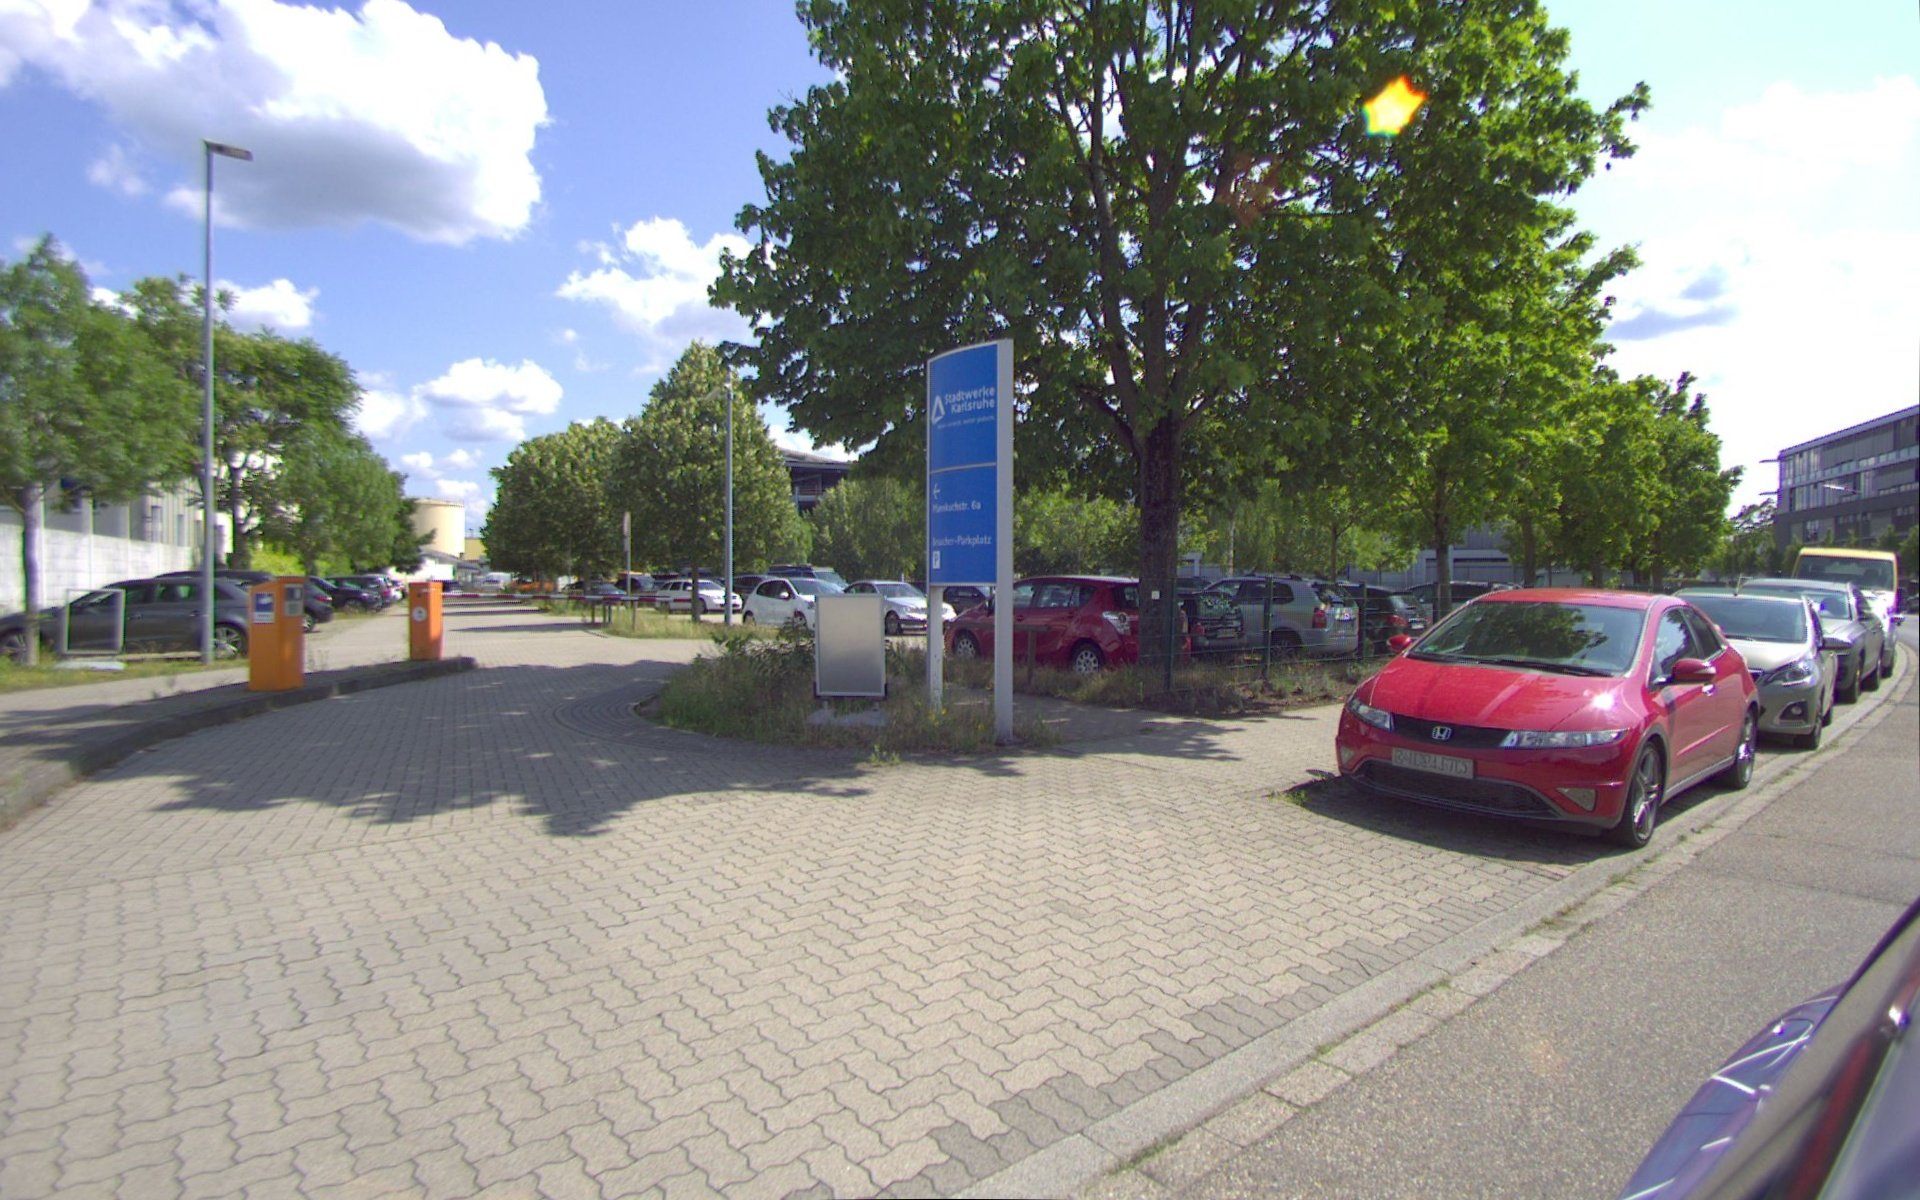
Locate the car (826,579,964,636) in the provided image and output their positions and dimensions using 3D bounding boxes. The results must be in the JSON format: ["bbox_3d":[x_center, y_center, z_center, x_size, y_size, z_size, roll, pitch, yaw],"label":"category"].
[{"bbox_3d":[-1.809,0.164,26.981,1.810,1.413,4.015,0,1,-37],"label":"car"}]

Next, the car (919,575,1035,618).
[{"bbox_3d":[0.622,-0.164,39.195,4.262,1.576,1.971,0,1,40],"label":"car"}]

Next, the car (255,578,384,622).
[{"bbox_3d":[-24.117,-0.033,38.287,3.918,1.568,1.743,-1,1,-25],"label":"car"}]

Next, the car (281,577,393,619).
[{"bbox_3d":[-25.576,-0.074,41.707,3.809,1.613,1.912,-1,0,-28],"label":"car"}]

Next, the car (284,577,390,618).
[{"bbox_3d":[-25.599,-0.135,41.706,3.579,1.568,1.781,-1,1,-28],"label":"car"}]

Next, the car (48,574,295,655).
[{"bbox_3d":[-16.709,0.242,21.718,3.920,1.568,1.742,-1,1,-29],"label":"car"}]

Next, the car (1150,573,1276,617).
[{"bbox_3d":[9.873,-0.196,39.624,4.472,1.661,1.812,0,0,40],"label":"car"}]

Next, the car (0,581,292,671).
[{"bbox_3d":[-13.917,0.394,17.217,4.107,1.351,1.642,-1,1,-29],"label":"car"}]

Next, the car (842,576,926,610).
[{"bbox_3d":[-3.749,-0.336,49.866,3.981,1.576,1.863,-2,0,41],"label":"car"}]

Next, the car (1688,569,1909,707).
[{"bbox_3d":[12.299,0.429,14.741,4.491,1.627,1.836,-1,4,-43],"label":"car"}]

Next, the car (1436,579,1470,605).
[{"bbox_3d":[34.151,-0.561,70.190,1.806,1.668,3.311,-2,0,22],"label":"car"}]

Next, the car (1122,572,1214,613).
[{"bbox_3d":[10.329,-0.369,50.303,4.072,1.959,1.971,0,1,38],"label":"car"}]

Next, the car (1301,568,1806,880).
[{"bbox_3d":[4.345,0.588,7.131,4.151,1.504,1.758,-1,4,-41],"label":"car"}]

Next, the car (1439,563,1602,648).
[{"bbox_3d":[18.828,0.121,34.068,4.332,1.686,1.831,20,12,37],"label":"car"}]

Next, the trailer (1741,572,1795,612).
[{"bbox_3d":[45.494,-0.455,57.052,1.737,2.093,3.904,3,2,31],"label":"trailer"}]

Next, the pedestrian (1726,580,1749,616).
[{"bbox_3d":[37.919,-0.103,49.370,0.718,1.714,0.731,4,2,32],"label":"pedestrian"}]

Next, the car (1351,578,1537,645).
[{"bbox_3d":[13.159,0.254,27.659,4.308,1.641,1.739,2,2,38],"label":"car"}]

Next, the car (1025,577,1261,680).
[{"bbox_3d":[3.179,0.408,18.116,1.876,1.613,3.882,-1,2,-40],"label":"car"}]

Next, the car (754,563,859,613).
[{"bbox_3d":[-7.118,-0.533,46.752,4.920,2.130,2.080,-2,0,41],"label":"car"}]

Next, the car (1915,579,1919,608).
[{"bbox_3d":[55.073,-0.377,56.316,1.723,1.677,4.268,-1,0,29],"label":"car"}]

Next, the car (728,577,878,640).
[{"bbox_3d":[-3.928,0.169,25.028,1.979,1.413,3.759,0,1,-41],"label":"car"}]

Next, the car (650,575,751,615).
[{"bbox_3d":[-10.875,-0.183,42.268,4.261,1.577,1.971,-2,-1,40],"label":"car"}]

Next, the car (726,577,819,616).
[{"bbox_3d":[-8.290,-0.140,44.522,3.982,1.576,1.971,-2,0,41],"label":"car"}]

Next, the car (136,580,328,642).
[{"bbox_3d":[-18.789,0.229,26.286,3.925,1.472,1.659,-2,1,-35],"label":"car"}]

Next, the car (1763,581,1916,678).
[{"bbox_3d":[16.514,0.431,18.920,1.876,1.495,5.087,4,4,43],"label":"car"}]

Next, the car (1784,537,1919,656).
[{"bbox_3d":[21.455,-0.161,24.242,2.157,2.495,6.536,2,2,43],"label":"car"}]

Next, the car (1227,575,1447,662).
[{"bbox_3d":[7.721,0.298,20.995,1.876,1.613,3.882,-1,2,-40],"label":"car"}]

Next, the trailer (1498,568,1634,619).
[{"bbox_3d":[26.753,-0.312,44.760,5.032,2.108,2.035,1,1,36],"label":"trailer"}]

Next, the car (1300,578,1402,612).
[{"bbox_3d":[20.992,-0.307,54.442,4.838,1.789,1.890,1,1,37],"label":"car"}]

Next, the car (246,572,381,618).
[{"bbox_3d":[-23.315,-0.210,36.665,3.918,1.568,1.743,-1,1,-26],"label":"car"}]

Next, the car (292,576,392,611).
[{"bbox_3d":[-29.581,-0.339,48.605,3.918,1.568,1.756,-1,1,-26],"label":"car"}]

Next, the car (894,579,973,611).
[{"bbox_3d":[-1.438,-0.249,53.560,3.981,1.576,1.863,-2,0,41],"label":"car"}]

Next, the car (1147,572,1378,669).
[{"bbox_3d":[5.696,0.303,19.398,1.876,1.657,3.882,-1,2,-40],"label":"car"}]

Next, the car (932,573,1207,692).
[{"bbox_3d":[1.598,0.386,15.989,1.876,1.613,4.217,-1,2,-40],"label":"car"}]

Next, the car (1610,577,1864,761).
[{"bbox_3d":[8.299,0.551,10.691,1.700,1.504,3.748,5,4,43],"label":"car"}]

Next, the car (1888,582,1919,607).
[{"bbox_3d":[57.549,-0.337,60.704,1.722,1.463,3.894,-2,0,27],"label":"car"}]
